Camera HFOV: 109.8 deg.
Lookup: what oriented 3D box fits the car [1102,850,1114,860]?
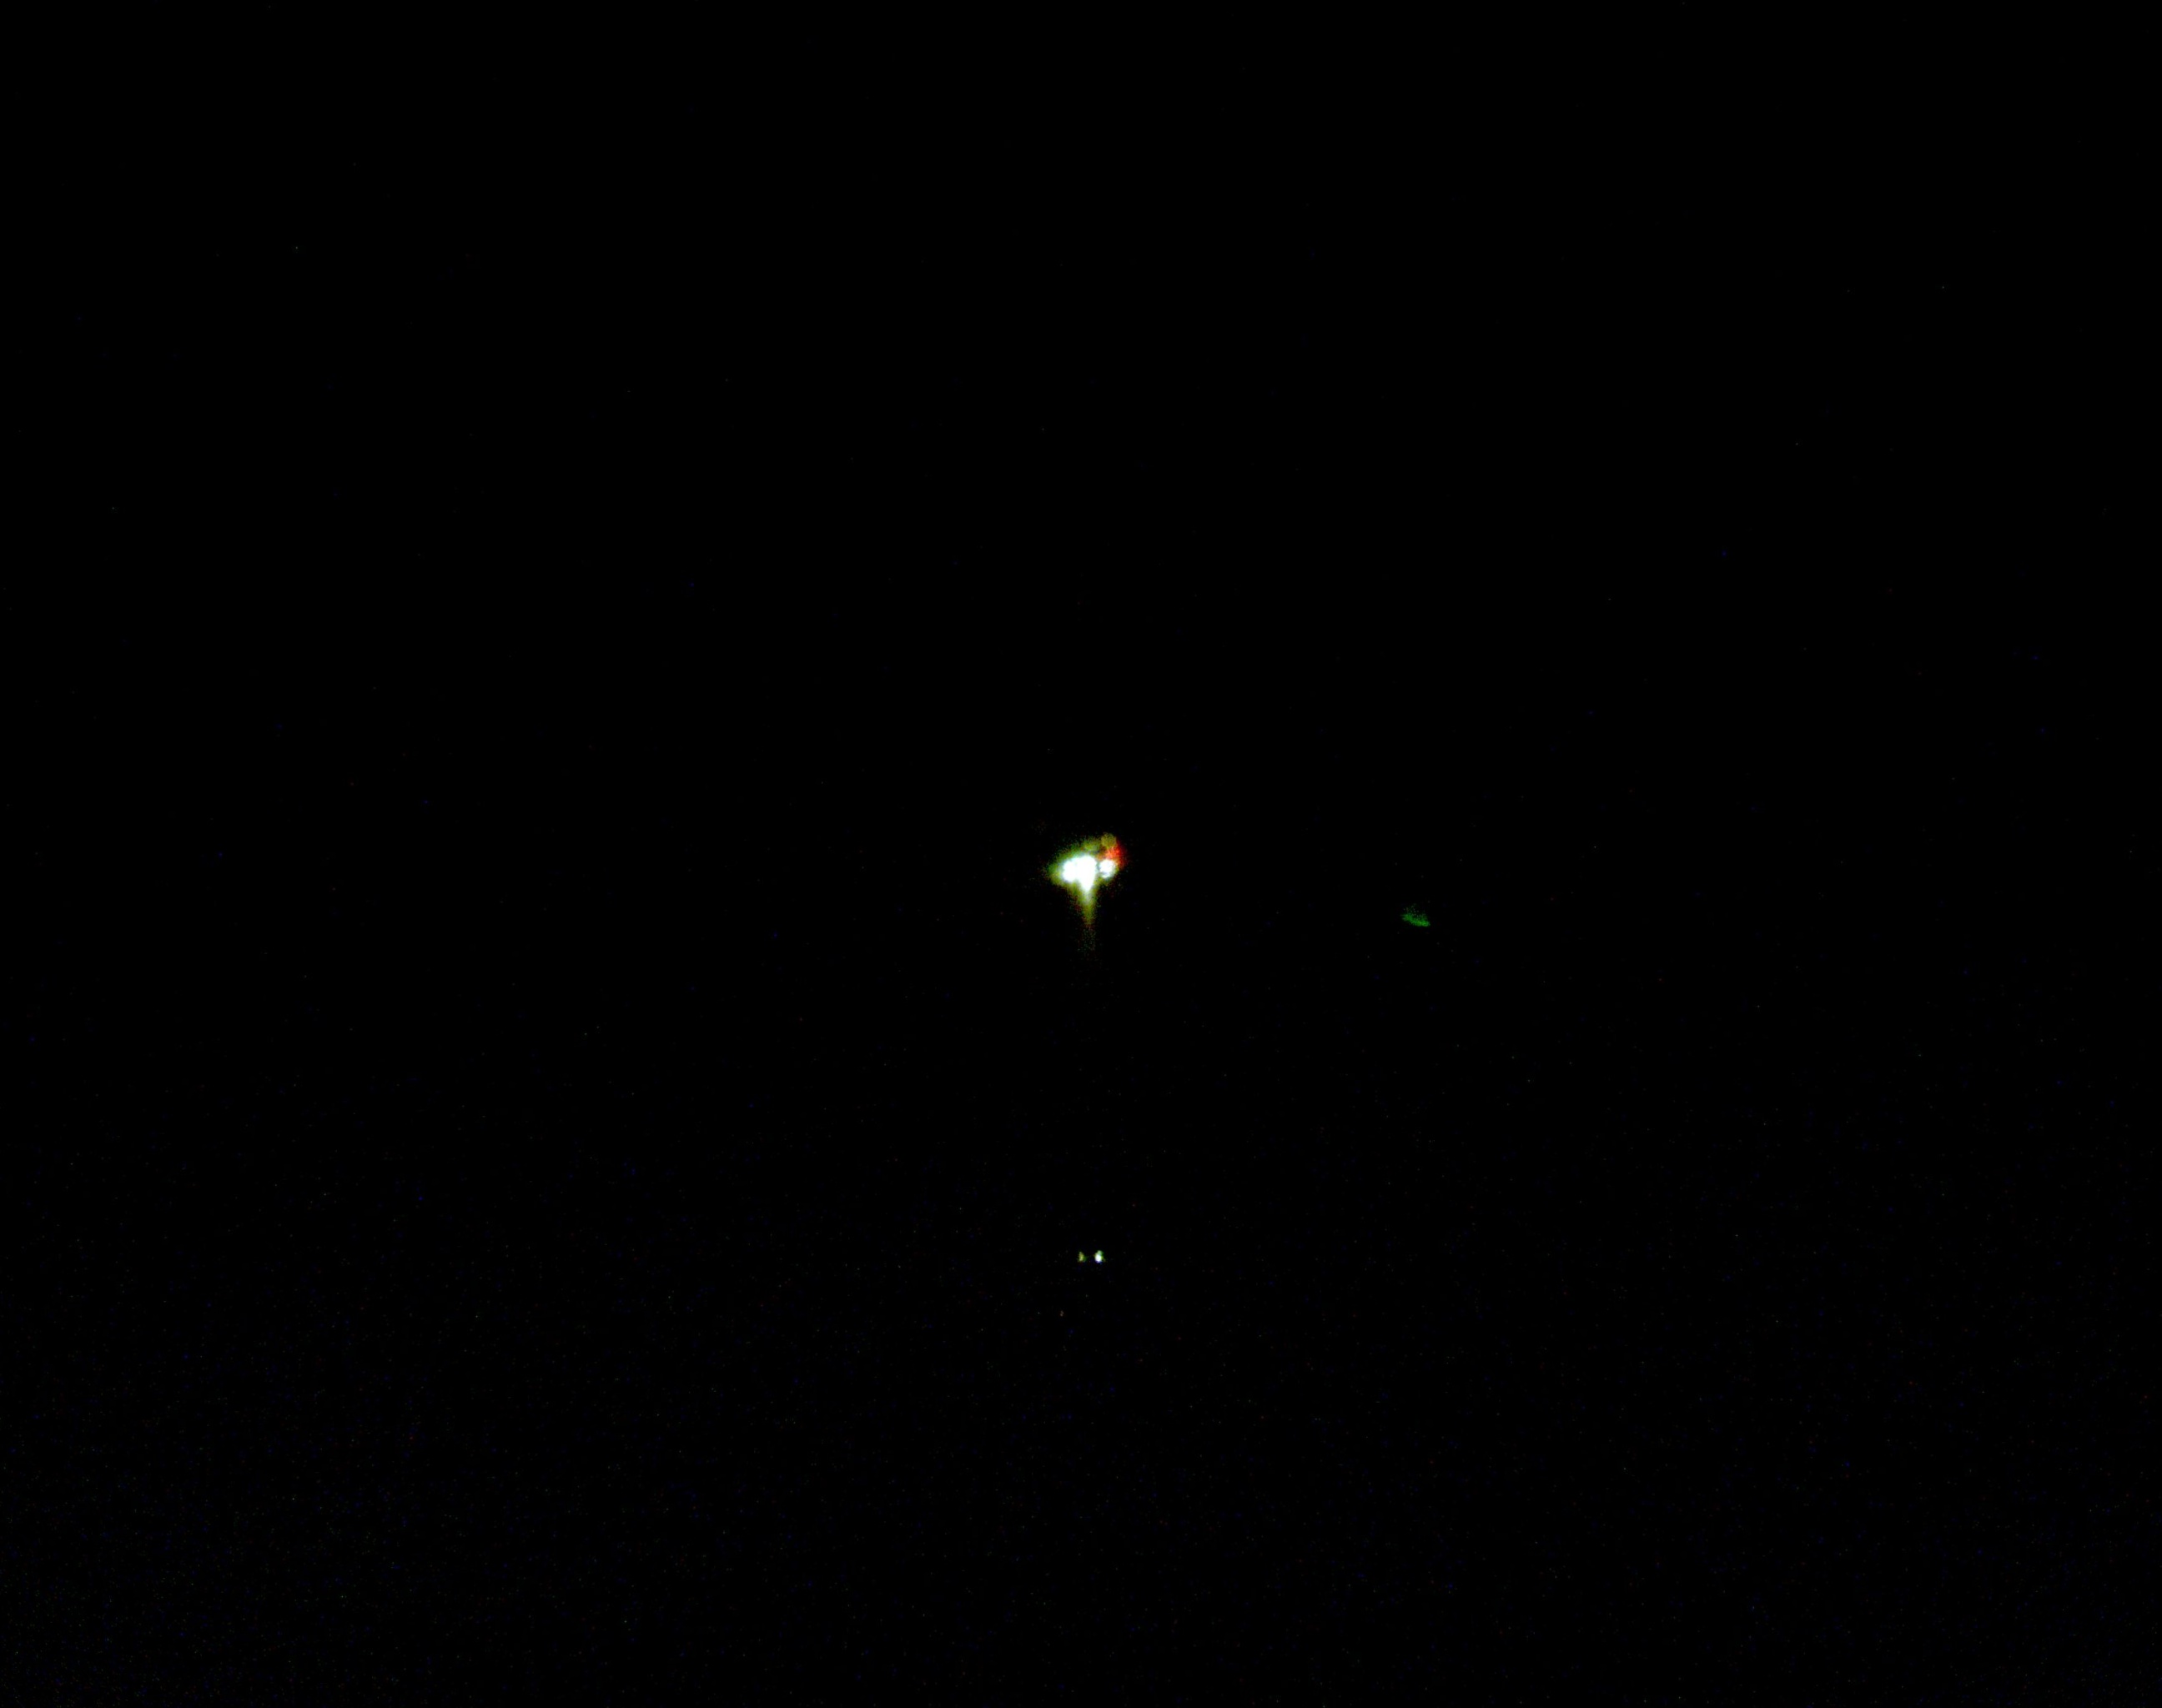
[{"bbox_3d":[5.062,0.205,142.465,1.951,1.718,3.999,-3,1,0],"label":"car"}]

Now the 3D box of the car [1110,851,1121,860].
[{"bbox_3d":[7.939,0.330,175.517,1.999,1.849,4.440,-3,1,-2],"label":"car"}]

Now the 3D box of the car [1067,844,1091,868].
[{"bbox_3d":[-0.153,0.163,69.002,1.998,2.002,4.000,-2,1,1],"label":"car"}]
